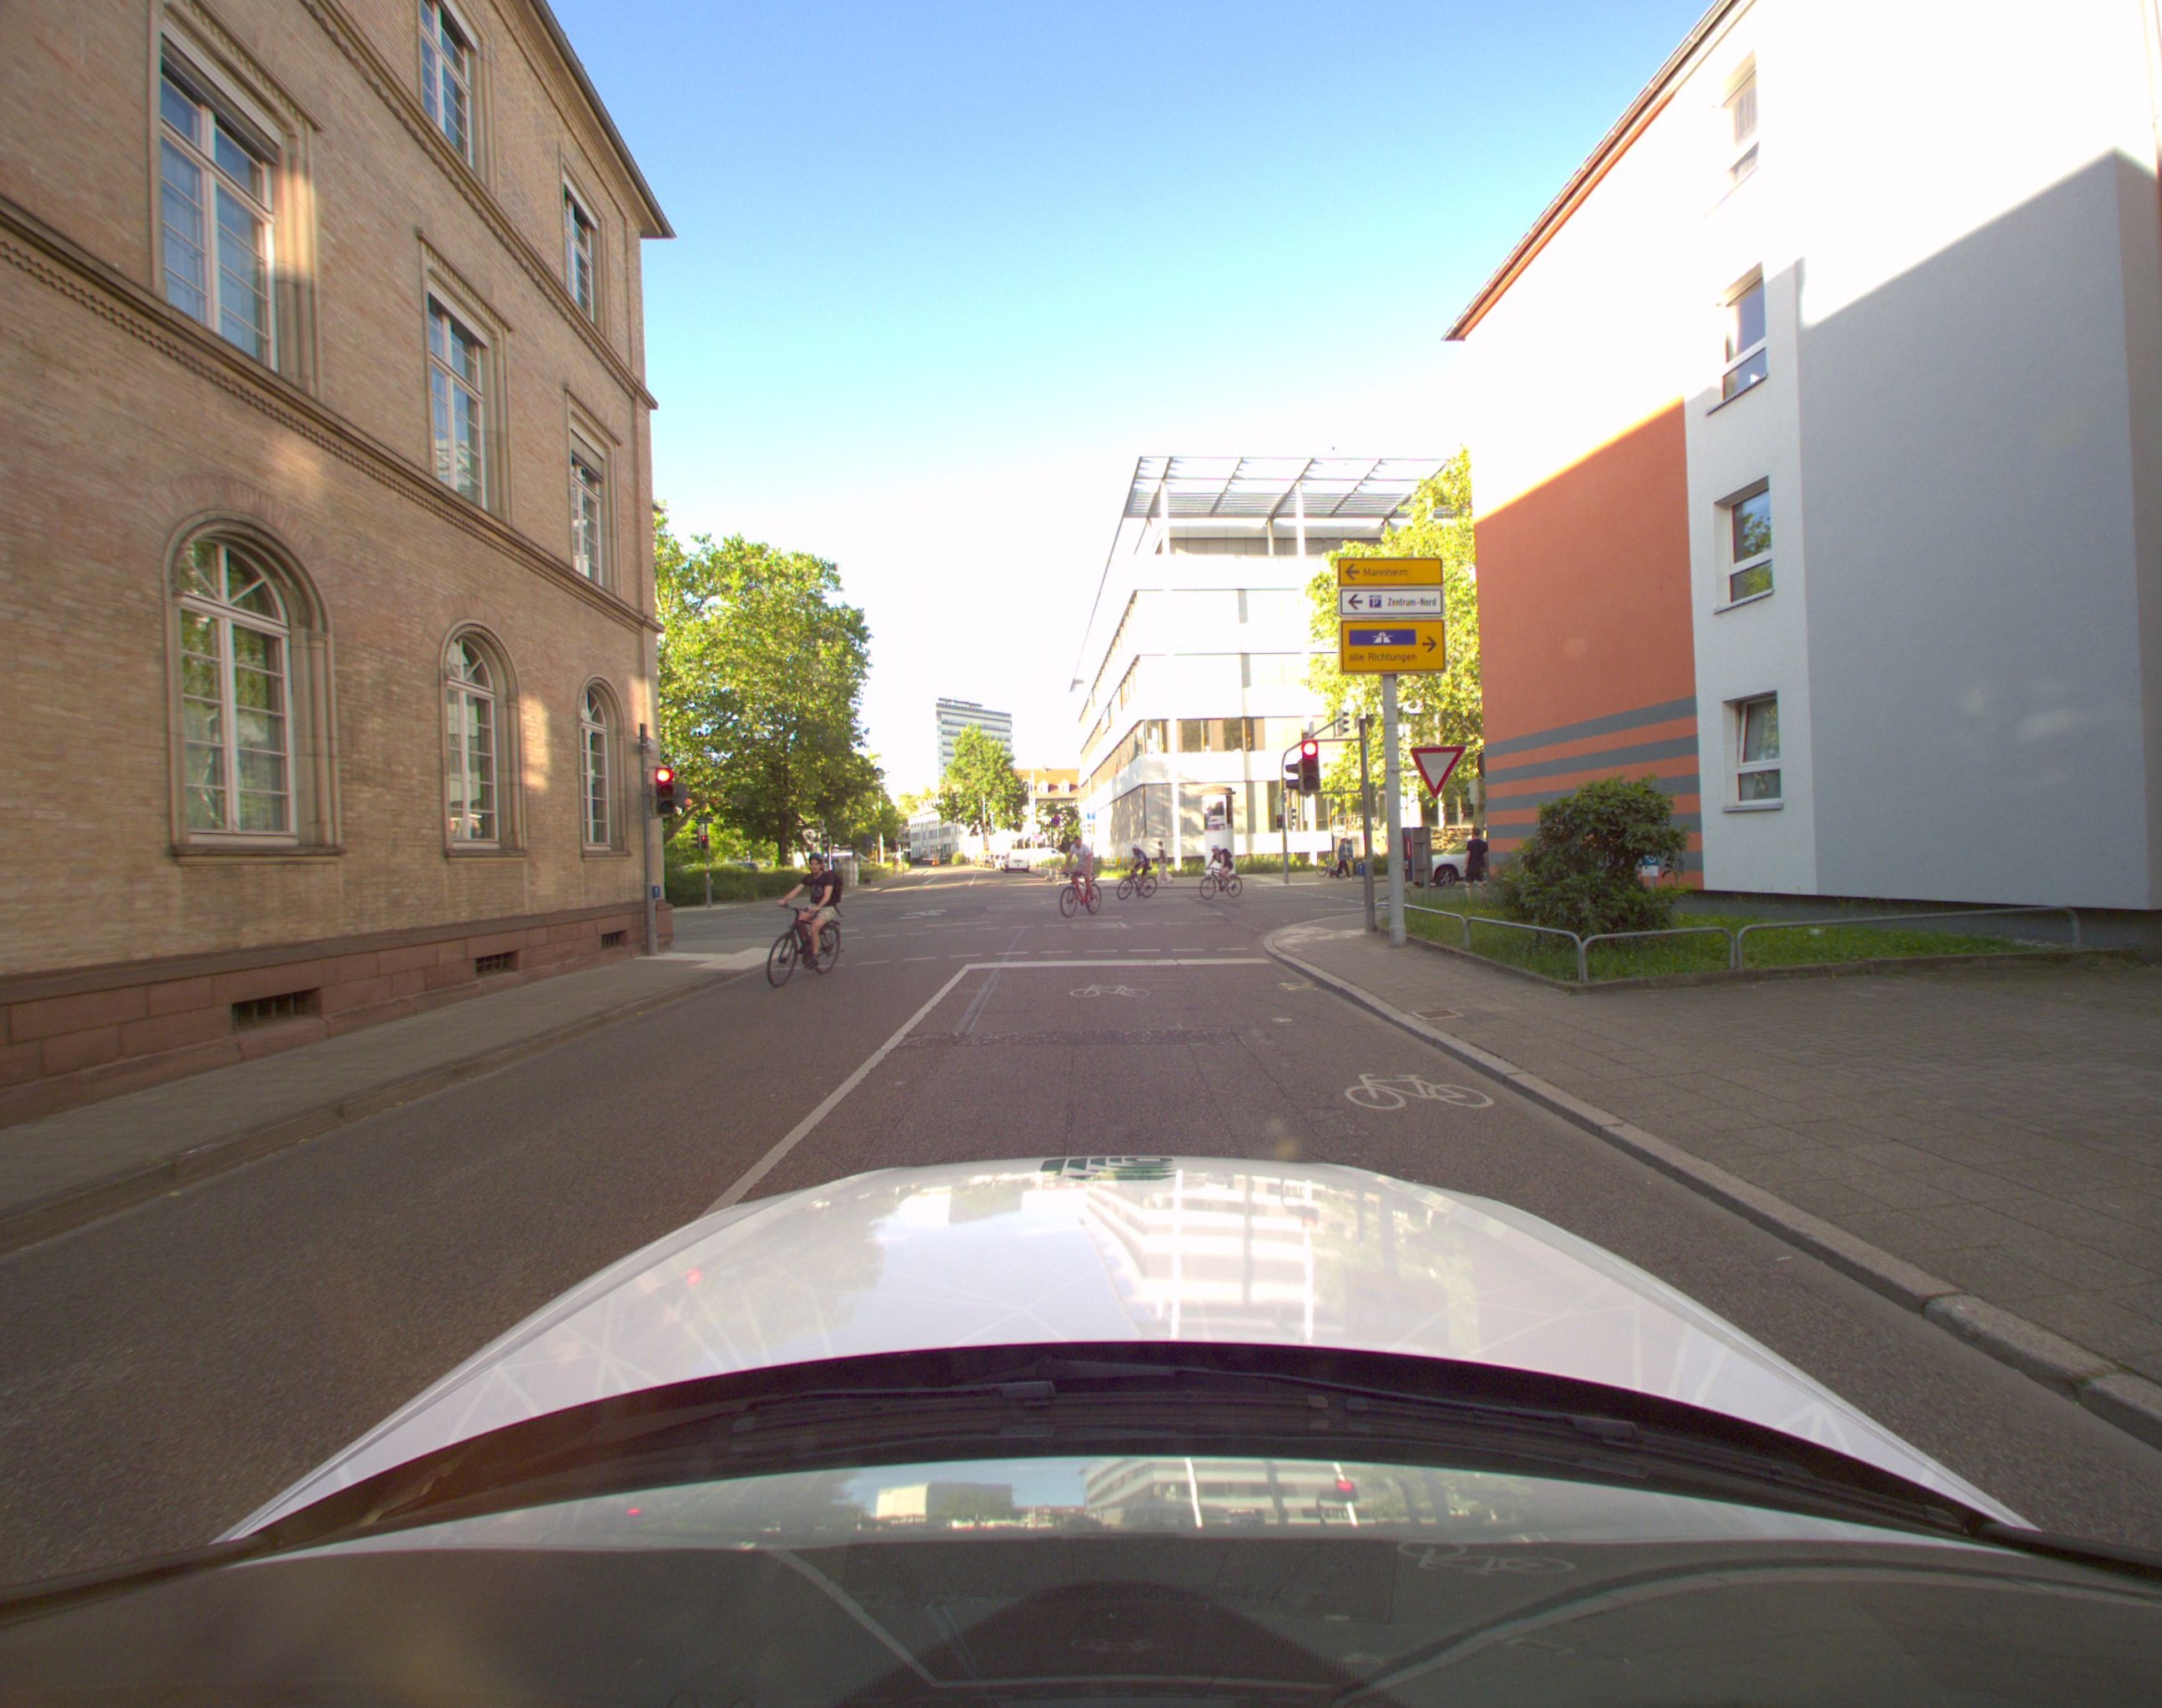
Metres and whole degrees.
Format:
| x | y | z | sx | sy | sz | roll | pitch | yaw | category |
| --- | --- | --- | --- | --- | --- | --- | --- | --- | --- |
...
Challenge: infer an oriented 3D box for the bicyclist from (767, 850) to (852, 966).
| x | y | z | sx | sy | sz | roll | pitch | yaw | category |
| --- | --- | --- | --- | --- | --- | --- | --- | --- | --- |
| -3.763 | 0.717 | 11.342 | 0.586 | 1.527 | 1.083 | -2 | 0 | 13 | bicyclist |

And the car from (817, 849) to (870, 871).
| x | y | z | sx | sy | sz | roll | pitch | yaw | category |
| --- | --- | --- | --- | --- | --- | --- | --- | --- | --- |
| -22.026 | 0.535 | 75.783 | 4.441 | 2.014 | 1.995 | 0 | -1 | -8 | car |

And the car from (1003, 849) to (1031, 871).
| x | y | z | sx | sy | sz | roll | pitch | yaw | category |
| --- | --- | --- | --- | --- | --- | --- | --- | --- | --- |
| -5.174 | 0.480 | 65.132 | 1.992 | 1.725 | 4.640 | 0 | -1 | -7 | car |

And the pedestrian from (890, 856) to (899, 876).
| x | y | z | sx | sy | sz | roll | pitch | yaw | category |
| --- | --- | --- | --- | --- | --- | --- | --- | --- | --- |
| -15.187 | 0.980 | 66.387 | 0.700 | 1.587 | 0.633 | 0 | -1 | -14 | pedestrian |

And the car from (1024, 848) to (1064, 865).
| x | y | z | sx | sy | sz | roll | pitch | yaw | category |
| --- | --- | --- | --- | --- | --- | --- | --- | --- | --- |
| -4.684 | 0.292 | 103.264 | 4.802 | 2.159 | 1.989 | 0 | -1 | -16 | car |

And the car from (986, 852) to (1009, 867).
| x | y | z | sx | sy | sz | roll | pitch | yaw | category |
| --- | --- | --- | --- | --- | --- | --- | --- | --- | --- |
| -8.886 | 0.605 | 86.394 | 1.994 | 1.499 | 4.635 | 0 | -1 | -10 | car |

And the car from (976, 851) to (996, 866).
| x | y | z | sx | sy | sz | roll | pitch | yaw | category |
| --- | --- | --- | --- | --- | --- | --- | --- | --- | --- |
| -11.302 | 0.552 | 96.318 | 1.995 | 1.725 | 4.633 | 0 | -1 | -11 | car |

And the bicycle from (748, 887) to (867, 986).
| x | y | z | sx | sy | sz | roll | pitch | yaw | category |
| --- | --- | --- | --- | --- | --- | --- | --- | --- | --- |
| -3.742 | 1.095 | 11.333 | 0.586 | 1.152 | 1.977 | -2 | 0 | 13 | bicycle |

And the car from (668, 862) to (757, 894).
| x | y | z | sx | sy | sz | roll | pitch | yaw | category |
| --- | --- | --- | --- | --- | --- | --- | --- | --- | --- |
| -17.087 | 1.094 | 37.917 | 3.407 | 1.457 | 1.646 | 0 | -1 | -8 | car |

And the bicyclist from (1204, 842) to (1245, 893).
| x | y | z | sx | sy | sz | roll | pitch | yaw | category |
| --- | --- | --- | --- | --- | --- | --- | --- | --- | --- |
| 4.238 | 0.383 | 24.112 | 0.977 | 1.446 | 0.621 | -2 | 0 | -30 | bicyclist |

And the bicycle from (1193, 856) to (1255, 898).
| x | y | z | sx | sy | sz | roll | pitch | yaw | category |
| --- | --- | --- | --- | --- | --- | --- | --- | --- | --- |
| 4.234 | 0.675 | 24.119 | 1.790 | 1.152 | 0.621 | -2 | 0 | -30 | bicycle |

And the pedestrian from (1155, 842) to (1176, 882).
| x | y | z | sx | sy | sz | roll | pitch | yaw | category |
| --- | --- | --- | --- | --- | --- | --- | --- | --- | --- |
| 3.803 | 0.361 | 36.617 | 0.758 | 1.795 | 0.651 | -1 | -1 | 21 | pedestrian |

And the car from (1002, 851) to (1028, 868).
| x | y | z | sx | sy | sz | roll | pitch | yaw | category |
| --- | --- | --- | --- | --- | --- | --- | --- | --- | --- |
| -5.849 | 0.492 | 71.367 | 1.993 | 1.499 | 4.638 | 0 | -1 | -8 | car |

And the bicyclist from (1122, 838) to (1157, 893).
| x | y | z | sx | sy | sz | roll | pitch | yaw | category |
| --- | --- | --- | --- | --- | --- | --- | --- | --- | --- |
| 1.792 | 0.345 | 25.034 | 0.830 | 1.628 | 0.620 | -2 | 0 | -41 | bicyclist |

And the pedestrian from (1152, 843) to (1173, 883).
| x | y | z | sx | sy | sz | roll | pitch | yaw | category |
| --- | --- | --- | --- | --- | --- | --- | --- | --- | --- |
| 3.597 | 0.404 | 35.797 | 0.758 | 1.719 | 0.651 | -1 | -1 | 20 | pedestrian |

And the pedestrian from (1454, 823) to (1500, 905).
| x | y | z | sx | sy | sz | roll | pitch | yaw | category |
| --- | --- | --- | --- | --- | --- | --- | --- | --- | --- |
| 9.008 | 0.220 | 18.530 | 0.723 | 1.810 | 0.693 | 0 | -1 | -39 | pedestrian |

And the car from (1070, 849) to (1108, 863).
| x | y | z | sx | sy | sz | roll | pitch | yaw | category |
| --- | --- | --- | --- | --- | --- | --- | --- | --- | --- |
| 1.022 | 0.278 | 104.970 | 4.644 | 1.725 | 1.990 | 0 | -1 | -15 | car |

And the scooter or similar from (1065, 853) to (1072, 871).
| x | y | z | sx | sy | sz | roll | pitch | yaw | category |
| --- | --- | --- | --- | --- | --- | --- | --- | --- | --- |
| -0.916 | 0.593 | 58.490 | 0.436 | 1.256 | 1.418 | -2 | 0 | -2 | scooter or similar |

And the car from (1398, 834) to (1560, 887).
| x | y | z | sx | sy | sz | roll | pitch | yaw | category |
| --- | --- | --- | --- | --- | --- | --- | --- | --- | --- |
| 12.658 | 0.184 | 26.042 | 4.346 | 1.514 | 1.717 | -1 | 0 | -4 | car |

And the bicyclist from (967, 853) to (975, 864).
| x | y | z | sx | sy | sz | roll | pitch | yaw | category |
| --- | --- | --- | --- | --- | --- | --- | --- | --- | --- |
| -14.017 | 0.563 | 103.922 | 0.585 | 1.396 | 0.752 | -2 | 0 | 34 | bicyclist |

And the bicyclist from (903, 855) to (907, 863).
| x | y | z | sx | sy | sz | roll | pitch | yaw | category |
| --- | --- | --- | --- | --- | --- | --- | --- | --- | --- |
| -31.151 | 0.862 | 143.861 | 0.617 | 1.472 | 0.736 | -2 | 0 | -18 | bicyclist |

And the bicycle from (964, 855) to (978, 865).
| x | y | z | sx | sy | sz | roll | pitch | yaw | category |
| --- | --- | --- | --- | --- | --- | --- | --- | --- | --- |
| -14.001 | 0.798 | 103.939 | 0.585 | 1.152 | 1.982 | -2 | 0 | 34 | bicycle |

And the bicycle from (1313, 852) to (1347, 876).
| x | y | z | sx | sy | sz | roll | pitch | yaw | category |
| --- | --- | --- | --- | --- | --- | --- | --- | --- | --- |
| 11.003 | 0.438 | 36.040 | 0.381 | 1.008 | 1.416 | -2 | 0 | -40 | bicycle |

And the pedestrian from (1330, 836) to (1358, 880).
| x | y | z | sx | sy | sz | roll | pitch | yaw | category |
| --- | --- | --- | --- | --- | --- | --- | --- | --- | --- |
| 11.037 | 0.165 | 34.167 | 0.905 | 1.815 | 0.767 | -1 | -1 | 34 | pedestrian |

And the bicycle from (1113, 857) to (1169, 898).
| x | y | z | sx | sy | sz | roll | pitch | yaw | category |
| --- | --- | --- | --- | --- | --- | --- | --- | --- | --- |
| 1.855 | 0.705 | 25.080 | 1.794 | 1.152 | 0.620 | -2 | 0 | -42 | bicycle |

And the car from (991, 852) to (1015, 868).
| x | y | z | sx | sy | sz | roll | pitch | yaw | category |
| --- | --- | --- | --- | --- | --- | --- | --- | --- | --- |
| -7.844 | 0.599 | 81.641 | 1.994 | 1.499 | 4.270 | 0 | -1 | -11 | car |

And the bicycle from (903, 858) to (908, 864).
| x | y | z | sx | sy | sz | roll | pitch | yaw | category |
| --- | --- | --- | --- | --- | --- | --- | --- | --- | --- |
| -31.088 | 1.234 | 143.852 | 0.617 | 1.152 | 1.957 | -2 | 0 | -18 | bicycle |

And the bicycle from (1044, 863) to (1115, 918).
| x | y | z | sx | sy | sz | roll | pitch | yaw | category |
| --- | --- | --- | --- | --- | --- | --- | --- | --- | --- |
| -0.010 | 0.830 | 19.188 | 0.619 | 1.152 | 1.982 | -2 | 0 | 34 | bicycle |

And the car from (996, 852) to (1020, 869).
| x | y | z | sx | sy | sz | roll | pitch | yaw | category |
| --- | --- | --- | --- | --- | --- | --- | --- | --- | --- |
| -6.922 | 0.622 | 77.167 | 1.993 | 1.499 | 4.638 | 0 | -1 | -8 | car |

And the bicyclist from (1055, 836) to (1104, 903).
| x | y | z | sx | sy | sz | roll | pitch | yaw | category |
| --- | --- | --- | --- | --- | --- | --- | --- | --- | --- |
| -0.032 | 0.348 | 19.198 | 0.695 | 1.522 | 0.924 | -2 | 0 | 34 | bicyclist |
